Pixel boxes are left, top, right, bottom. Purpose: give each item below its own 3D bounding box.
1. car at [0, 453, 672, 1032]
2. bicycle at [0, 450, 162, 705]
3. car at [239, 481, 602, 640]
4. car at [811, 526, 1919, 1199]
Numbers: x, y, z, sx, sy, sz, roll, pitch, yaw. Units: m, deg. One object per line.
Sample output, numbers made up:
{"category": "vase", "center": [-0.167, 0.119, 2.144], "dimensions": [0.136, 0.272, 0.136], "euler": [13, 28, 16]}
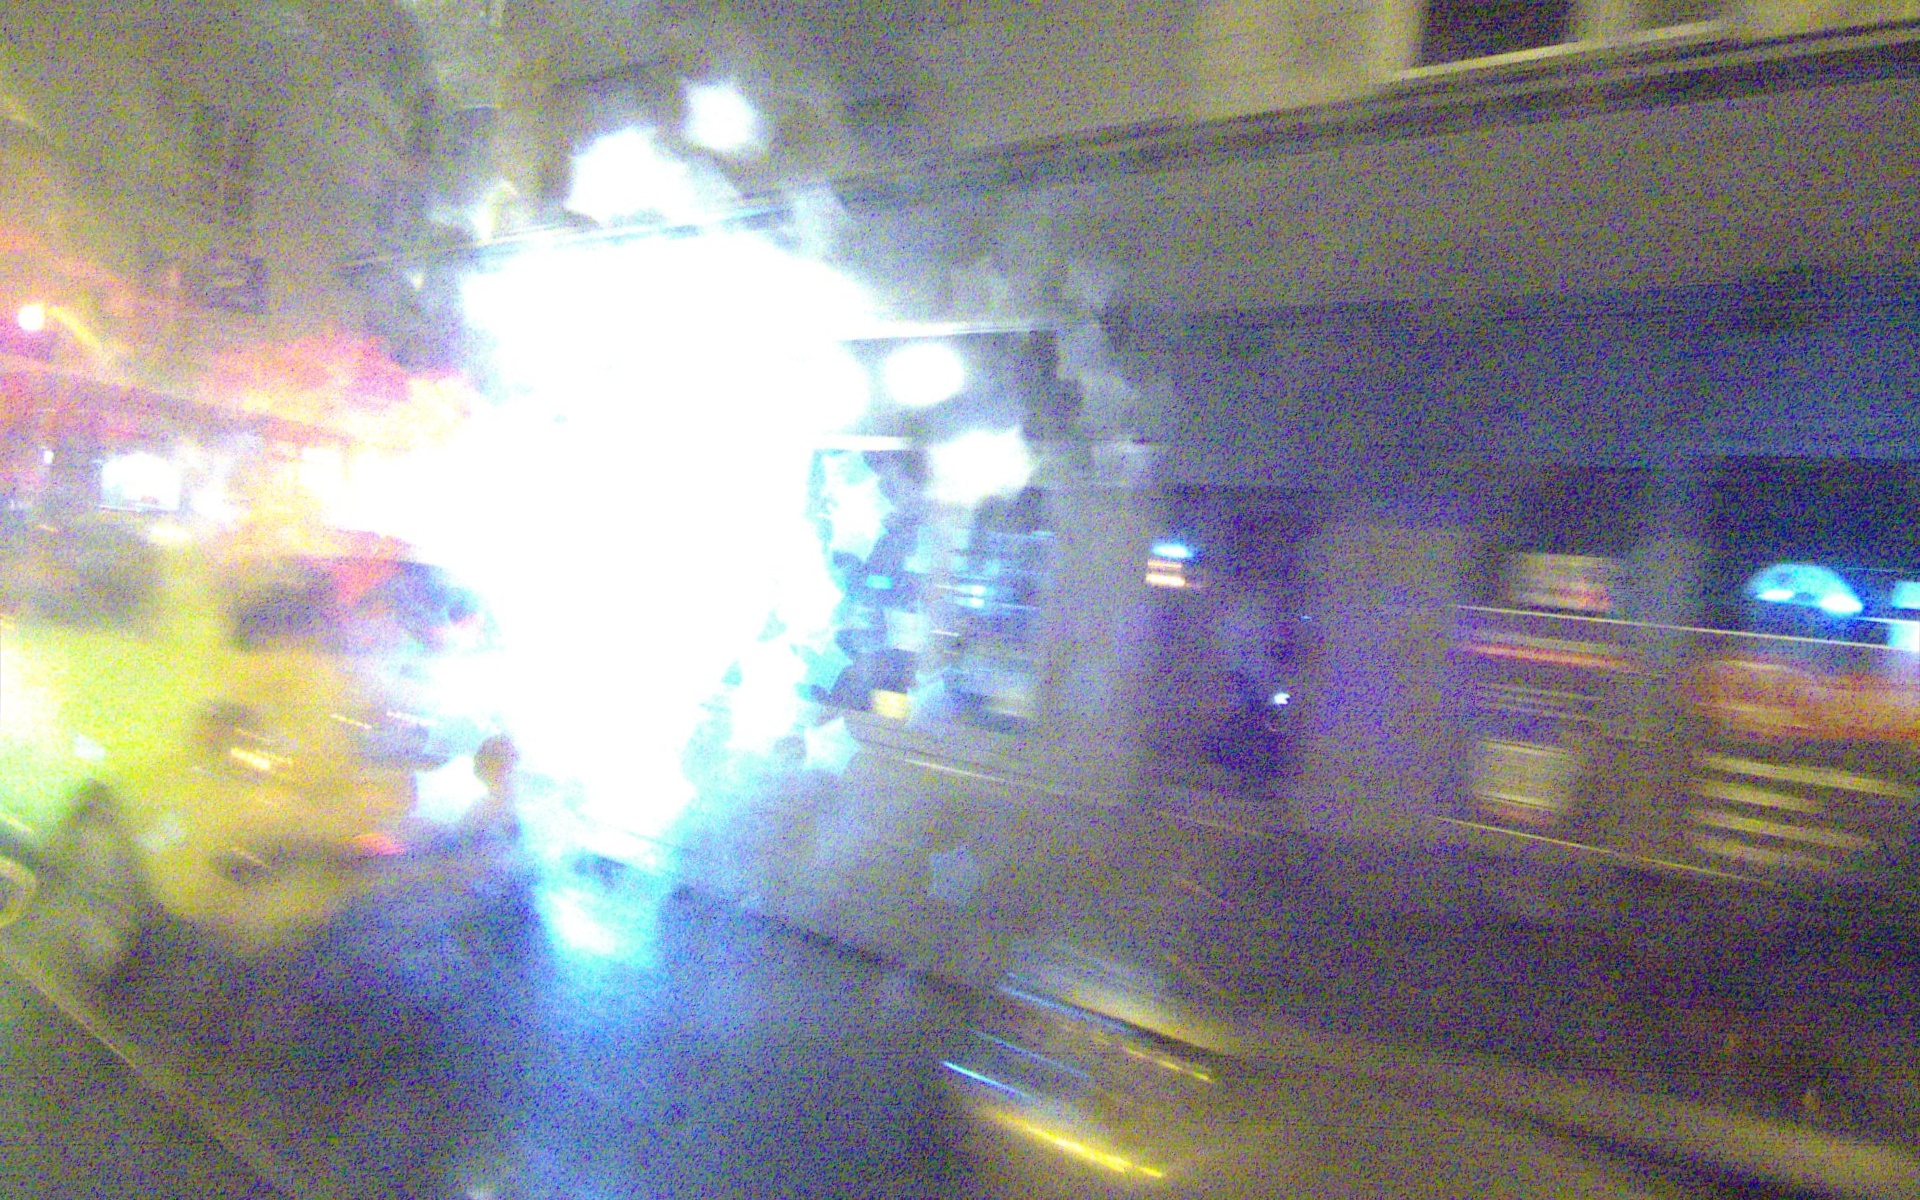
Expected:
{"category": "car", "center": [-3.082, 0.315, 4.289], "dimensions": [3.363, 1.561, 1.594], "euler": [6, -1, 32]}
{"category": "bicycle", "center": [-6.790, -0.180, 6.607], "dimensions": [0.876, 1.662, 2.313], "euler": [7, 4, 42]}
{"category": "car", "center": [-8.723, -0.542, 16.775], "dimensions": [2.094, 1.945, 4.818], "euler": [7, -1, 30]}
{"category": "car", "center": [1.909, 0.936, 1.309], "dimensions": [3.922, 1.627, 1.756], "euler": [6, -1, 30]}
